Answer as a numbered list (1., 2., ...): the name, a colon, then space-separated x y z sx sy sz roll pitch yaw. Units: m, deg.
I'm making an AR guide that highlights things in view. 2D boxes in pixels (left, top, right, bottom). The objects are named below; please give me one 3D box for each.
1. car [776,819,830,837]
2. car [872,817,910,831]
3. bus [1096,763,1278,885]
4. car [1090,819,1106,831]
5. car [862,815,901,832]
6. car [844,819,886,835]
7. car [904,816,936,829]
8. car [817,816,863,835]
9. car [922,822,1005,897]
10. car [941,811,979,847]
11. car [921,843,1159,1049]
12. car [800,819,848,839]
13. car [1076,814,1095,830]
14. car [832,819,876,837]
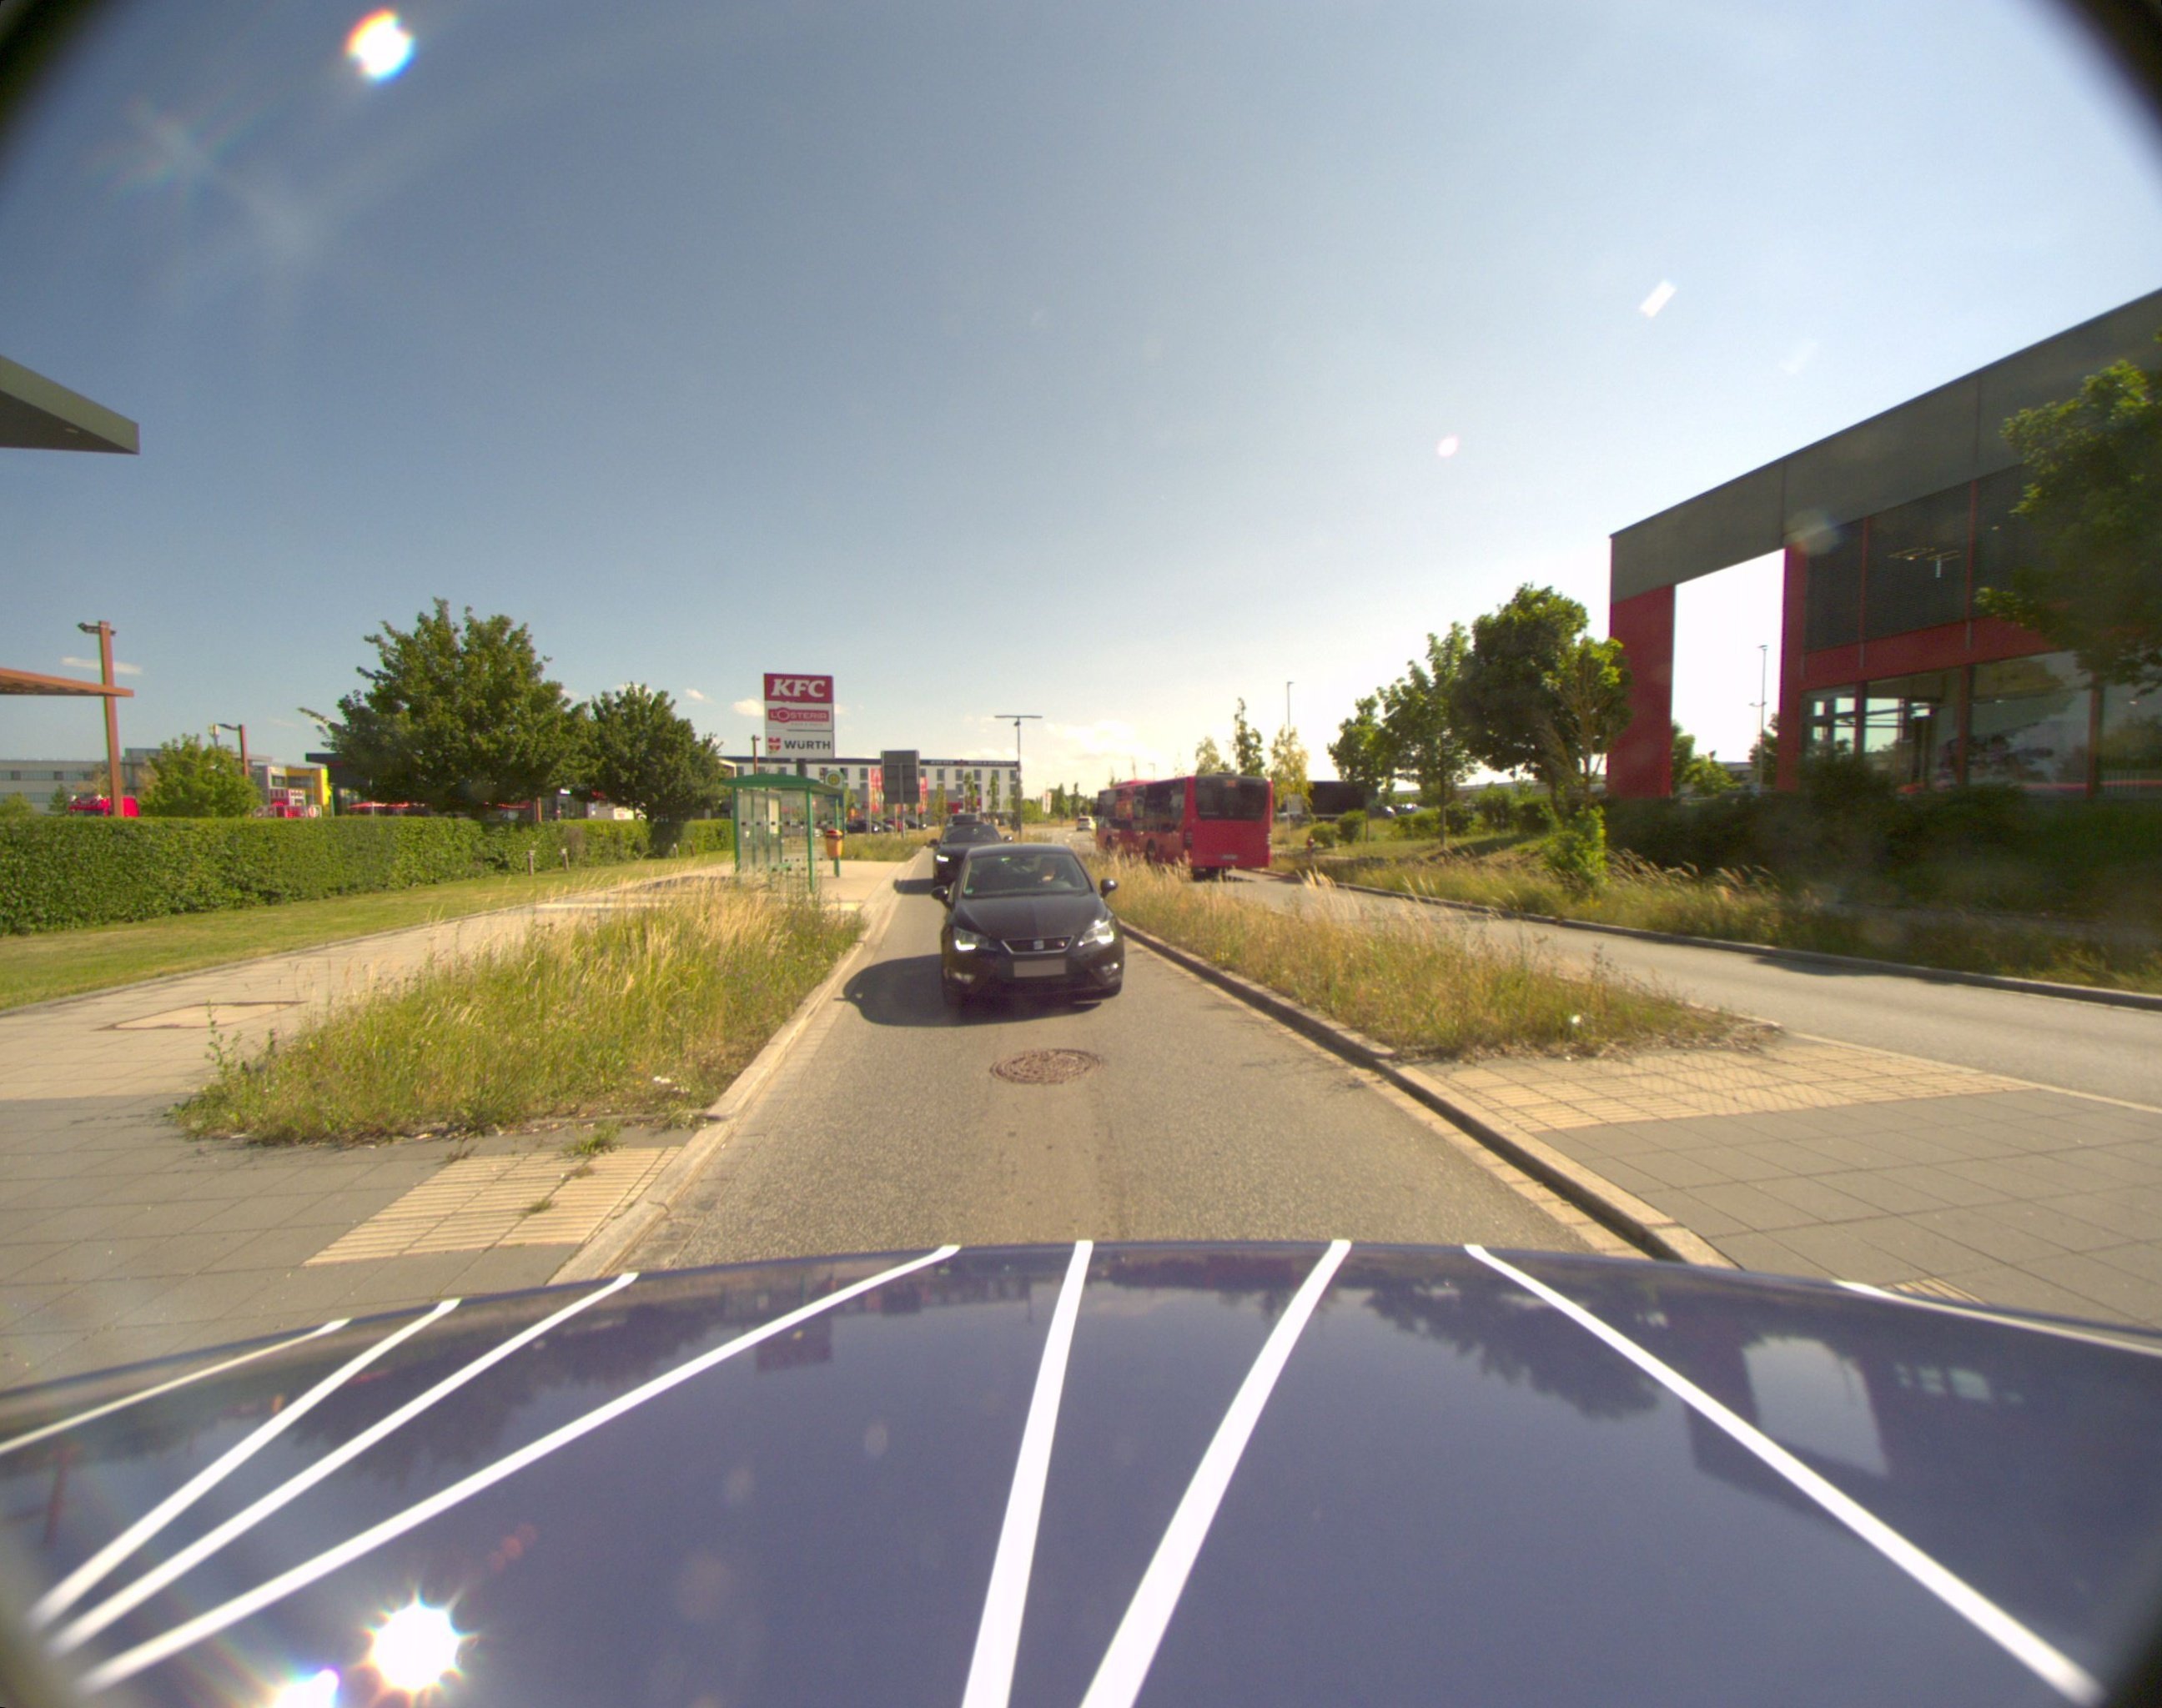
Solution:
1. car: -26.558 -2.489 72.736 4.441 1.644 1.932 -1 3 -3
2. car: -23.695 -3.768 94.840 4.181 1.752 1.824 0 3 8
3. bus: 2.999 -1.012 26.220 2.618 3.223 11.865 -1 2 -10
4. car: 2.469 -4.258 111.016 1.997 1.675 4.000 0 3 6
5. car: -24.119 -3.687 91.864 4.183 2.003 1.933 0 3 3
6. car: -24.627 -3.073 86.778 4.181 1.847 1.803 0 3 8
7. car: -21.547 -4.231 101.892 3.821 1.611 1.756 0 3 4
8. car: -25.499 -3.045 80.570 4.182 2.003 1.933 0 3 4
9. car: -3.073 0.044 20.227 1.863 1.679 3.995 -4 3 -7
10. car: -7.448 -1.618 47.293 2.080 2.037 4.677 -4 3 -7
11. car: -0.622 0.699 8.094 1.863 1.460 3.995 -3 2 -9
12. car: -26.200 -2.529 77.460 4.182 2.003 1.933 0 3 5
13. car: 0.448 -3.634 85.728 1.862 1.705 4.153 0 3 -3
14. car: -25.134 -2.895 84.336 4.182 2.003 1.933 0 3 5
